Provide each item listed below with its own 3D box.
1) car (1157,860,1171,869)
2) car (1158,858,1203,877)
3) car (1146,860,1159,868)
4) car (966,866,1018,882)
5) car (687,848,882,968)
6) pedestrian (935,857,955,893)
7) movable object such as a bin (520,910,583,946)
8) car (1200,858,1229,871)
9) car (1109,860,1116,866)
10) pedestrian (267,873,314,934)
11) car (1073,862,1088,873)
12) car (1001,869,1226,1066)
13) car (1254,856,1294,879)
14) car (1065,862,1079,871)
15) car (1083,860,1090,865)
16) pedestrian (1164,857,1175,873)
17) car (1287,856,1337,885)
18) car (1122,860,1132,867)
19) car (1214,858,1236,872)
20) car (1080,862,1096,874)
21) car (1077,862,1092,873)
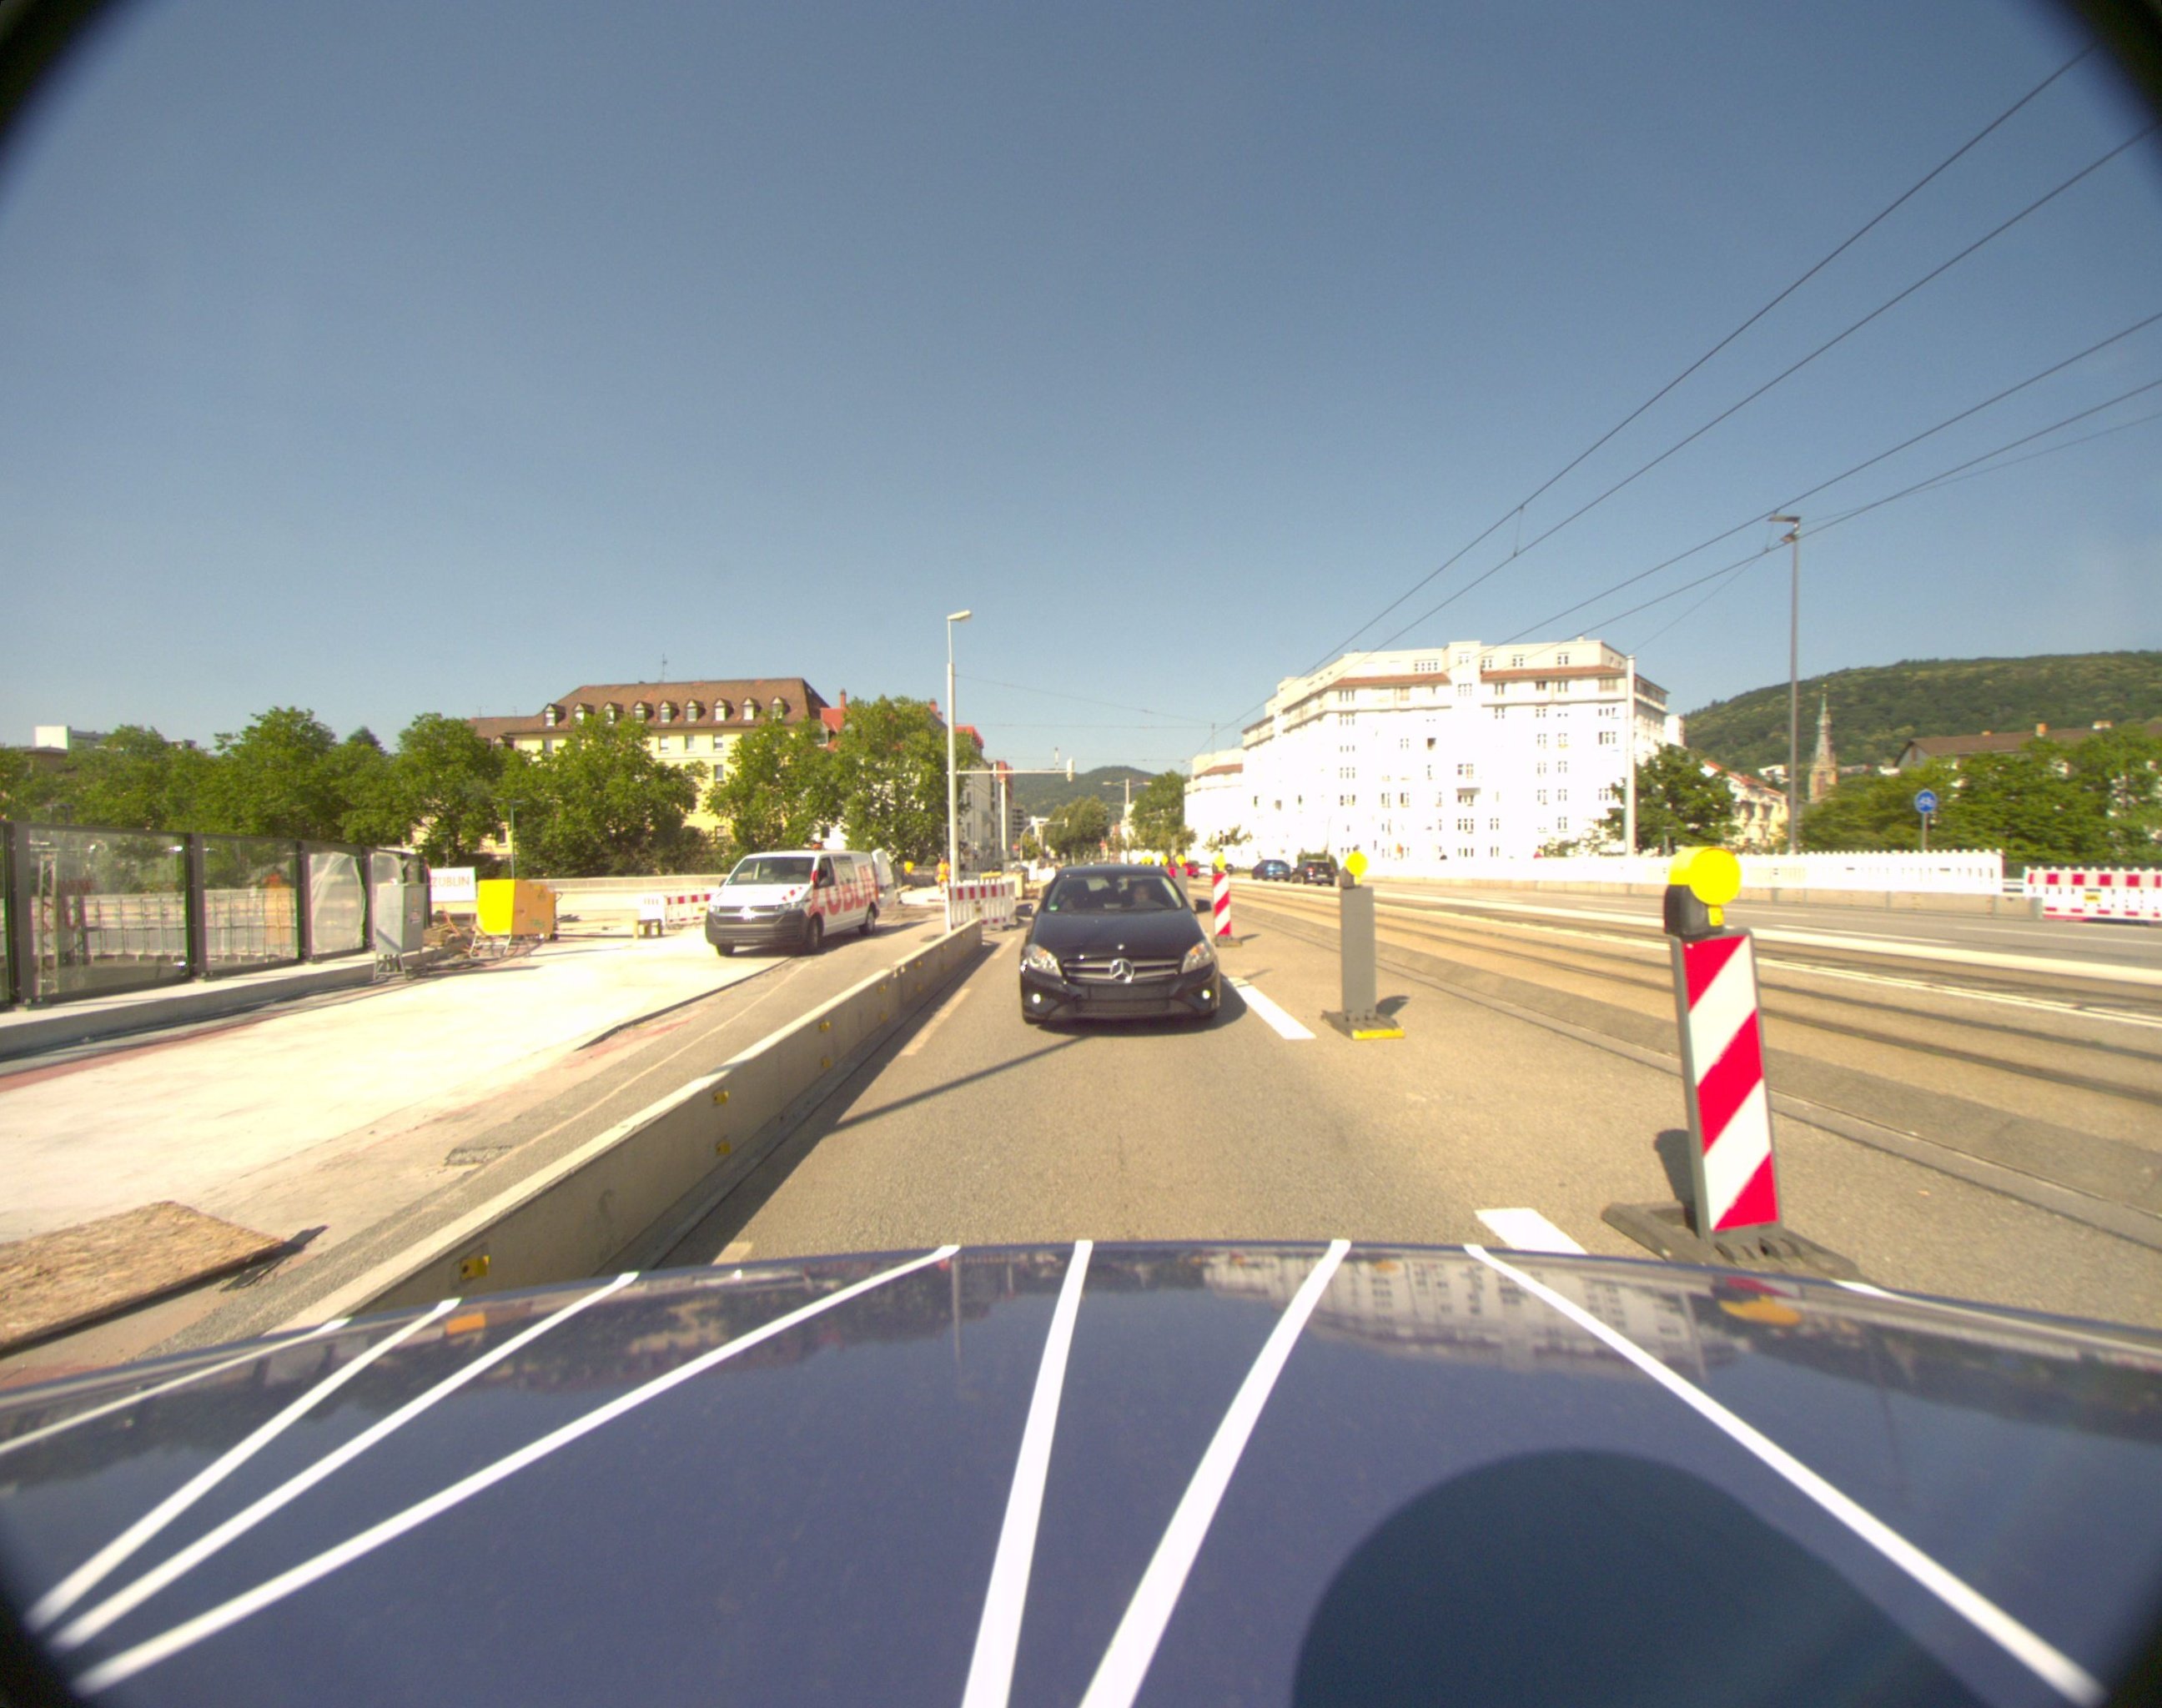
[{"bbox_3d":[14.345,1.774,131.112,1.740,1.475,3.739,-1,0,-5],"label":"car"},{"bbox_3d":[8.794,1.200,67.225,1.541,1.428,3.971,-3,-1,-36],"label":"car"},{"bbox_3d":[13.479,1.952,144.011,1.740,1.475,3.739,-1,0,-5],"label":"car"},{"bbox_3d":[-8.523,1.916,72.532,4.636,1.429,1.644,1,0,9],"label":"car"},{"bbox_3d":[-5.792,0.933,15.642,1.883,2.021,4.891,-2,0,2],"label":"car"},{"bbox_3d":[-6.771,1.022,37.760,0.821,1.784,0.864,1,0,-1],"label":"pedestrian"},{"bbox_3d":[-13.296,1.840,19.080,0.754,0.837,1.107,-1,-3,40],"label":"movable object such as a bin"},{"bbox_3d":[15.037,1.199,85.733,1.702,1.404,4.481,0,0,-10],"label":"car"},{"bbox_3d":[8.529,2.379,206.169,1.739,1.475,3.739,-1,0,-3],"label":"car"},{"bbox_3d":[-31.171,1.928,29.990,0.878,2.319,0.797,-5,1,-25],"label":"pedestrian"},{"bbox_3d":[-0.080,1.795,102.698,1.767,1.346,4.000,-2,-1,-2],"label":"car"},{"bbox_3d":[0.313,0.937,8.254,1.702,1.400,4.623,-3,0,1],"label":"car"},{"bbox_3d":[13.613,0.942,53.875,1.674,1.541,4.556,0,0,0],"label":"car"},{"bbox_3d":[-1.352,1.969,116.673,1.768,1.346,3.998,-2,-1,-6],"label":"car"},{"bbox_3d":[1.587,2.621,224.290,1.798,1.475,3.739,-1,0,-3],"label":"car"},{"bbox_3d":[10.055,1.244,86.438,1.003,1.697,0.822,-1,1,-7],"label":"pedestrian"},{"bbox_3d":[12.775,0.876,42.245,1.509,1.491,4.177,1,0,0],"label":"car"},{"bbox_3d":[10.712,2.172,175.795,1.740,1.475,3.739,-1,0,-5],"label":"car"},{"bbox_3d":[17.904,1.336,94.595,1.740,1.628,3.739,-1,0,-5],"label":"car"},{"bbox_3d":[0.842,1.656,89.630,1.766,1.313,4.001,-2,-1,1],"label":"car"},{"bbox_3d":[0.465,1.711,96.809,1.767,1.346,4.000,-2,-1,-1],"label":"car"}]
